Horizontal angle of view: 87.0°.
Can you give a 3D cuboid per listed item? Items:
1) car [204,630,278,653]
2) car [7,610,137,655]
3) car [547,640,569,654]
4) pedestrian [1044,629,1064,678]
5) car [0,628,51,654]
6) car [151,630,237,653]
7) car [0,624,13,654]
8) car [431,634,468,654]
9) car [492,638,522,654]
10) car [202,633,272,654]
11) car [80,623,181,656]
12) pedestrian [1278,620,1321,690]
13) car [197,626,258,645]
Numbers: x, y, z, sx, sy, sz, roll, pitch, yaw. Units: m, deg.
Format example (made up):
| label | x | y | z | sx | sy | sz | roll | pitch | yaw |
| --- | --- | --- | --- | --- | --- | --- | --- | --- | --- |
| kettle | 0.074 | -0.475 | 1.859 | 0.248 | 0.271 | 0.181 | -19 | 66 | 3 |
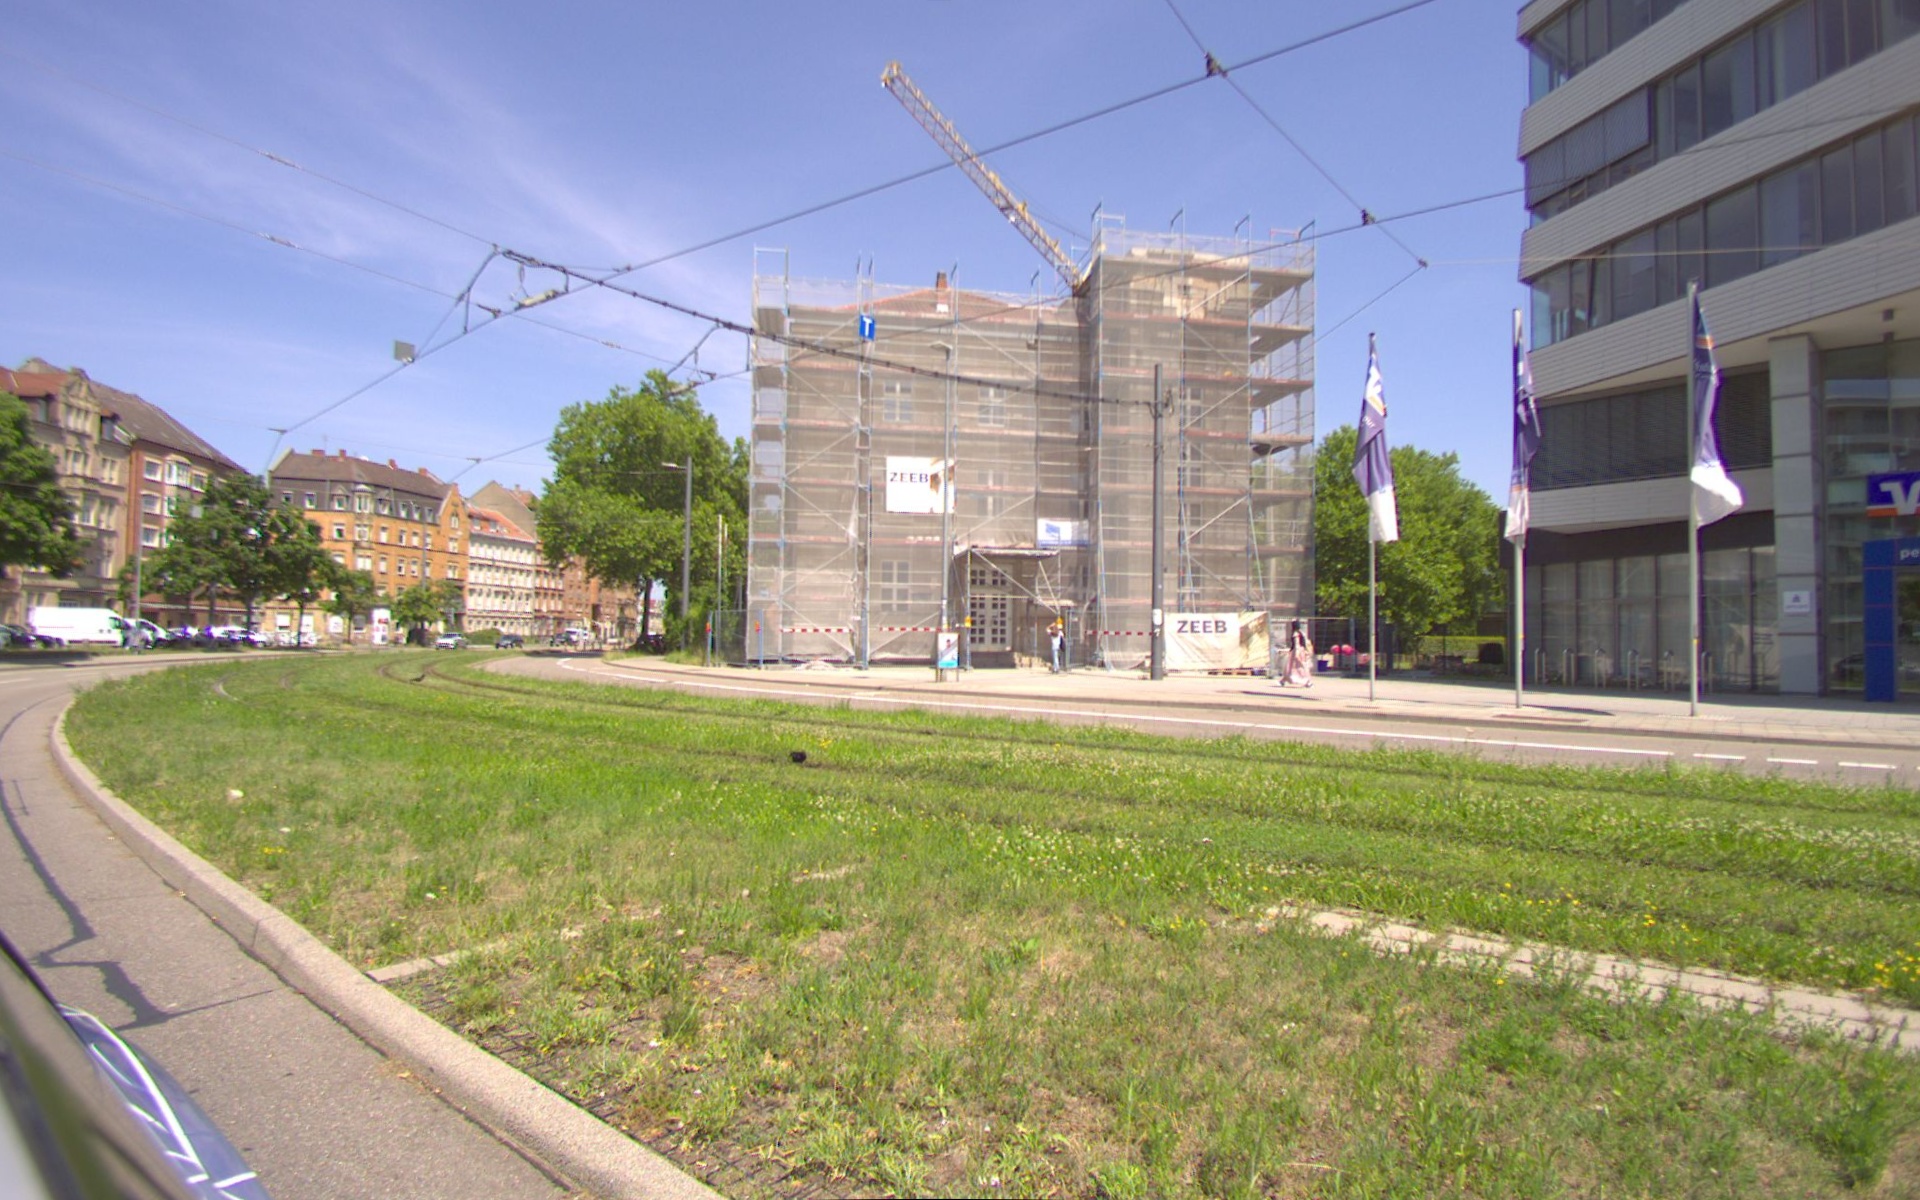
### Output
| label | x | y | z | sx | sy | sz | roll | pitch | yaw |
| --- | --- | --- | --- | --- | --- | --- | --- | --- | --- |
| car | -53.733 | 3.078 | 75.741 | 4.338 | 1.644 | 2.006 | 1 | -3 | -32 |
| car | -51.593 | 1.907 | 58.911 | 2.238 | 2.479 | 5.473 | -3 | -3 | 43 |
| car | -48.566 | 5.664 | 122.240 | 1.772 | 1.586 | 4.009 | 0 | -2 | -12 |
| pedestrian | 2.957 | 1.672 | 31.768 | 0.573 | 1.530 | 0.589 | -1 | -2 | 3 |
| car | -49.337 | 2.101 | 51.549 | 1.972 | 1.349 | 4.369 | -3 | -3 | 43 |
| car | -52.552 | 2.838 | 69.529 | 4.556 | 1.508 | 1.970 | 1 | -3 | -34 |
| car | -48.415 | 1.898 | 48.285 | 1.972 | 1.438 | 4.626 | -3 | -3 | 43 |
| car | -43.983 | 3.781 | 87.260 | 1.772 | 1.586 | 4.007 | 0 | -2 | -9 |
| car | -46.076 | 4.687 | 103.028 | 1.772 | 1.586 | 4.007 | 0 | -2 | -9 |
| car | -52.239 | 3.131 | 73.222 | 3.932 | 1.410 | 1.829 | 1 | -3 | -31 |
| car | -51.566 | 2.428 | 63.043 | 4.771 | 1.988 | 2.080 | 1 | -3 | -39 |
| pedestrian | 8.117 | 1.320 | 24.238 | 0.908 | 1.643 | 0.745 | -1 | -2 | 18 |
| car | -76.704 | 3.701 | 106.040 | 4.770 | 1.953 | 2.174 | 0 | -2 | -21 |
